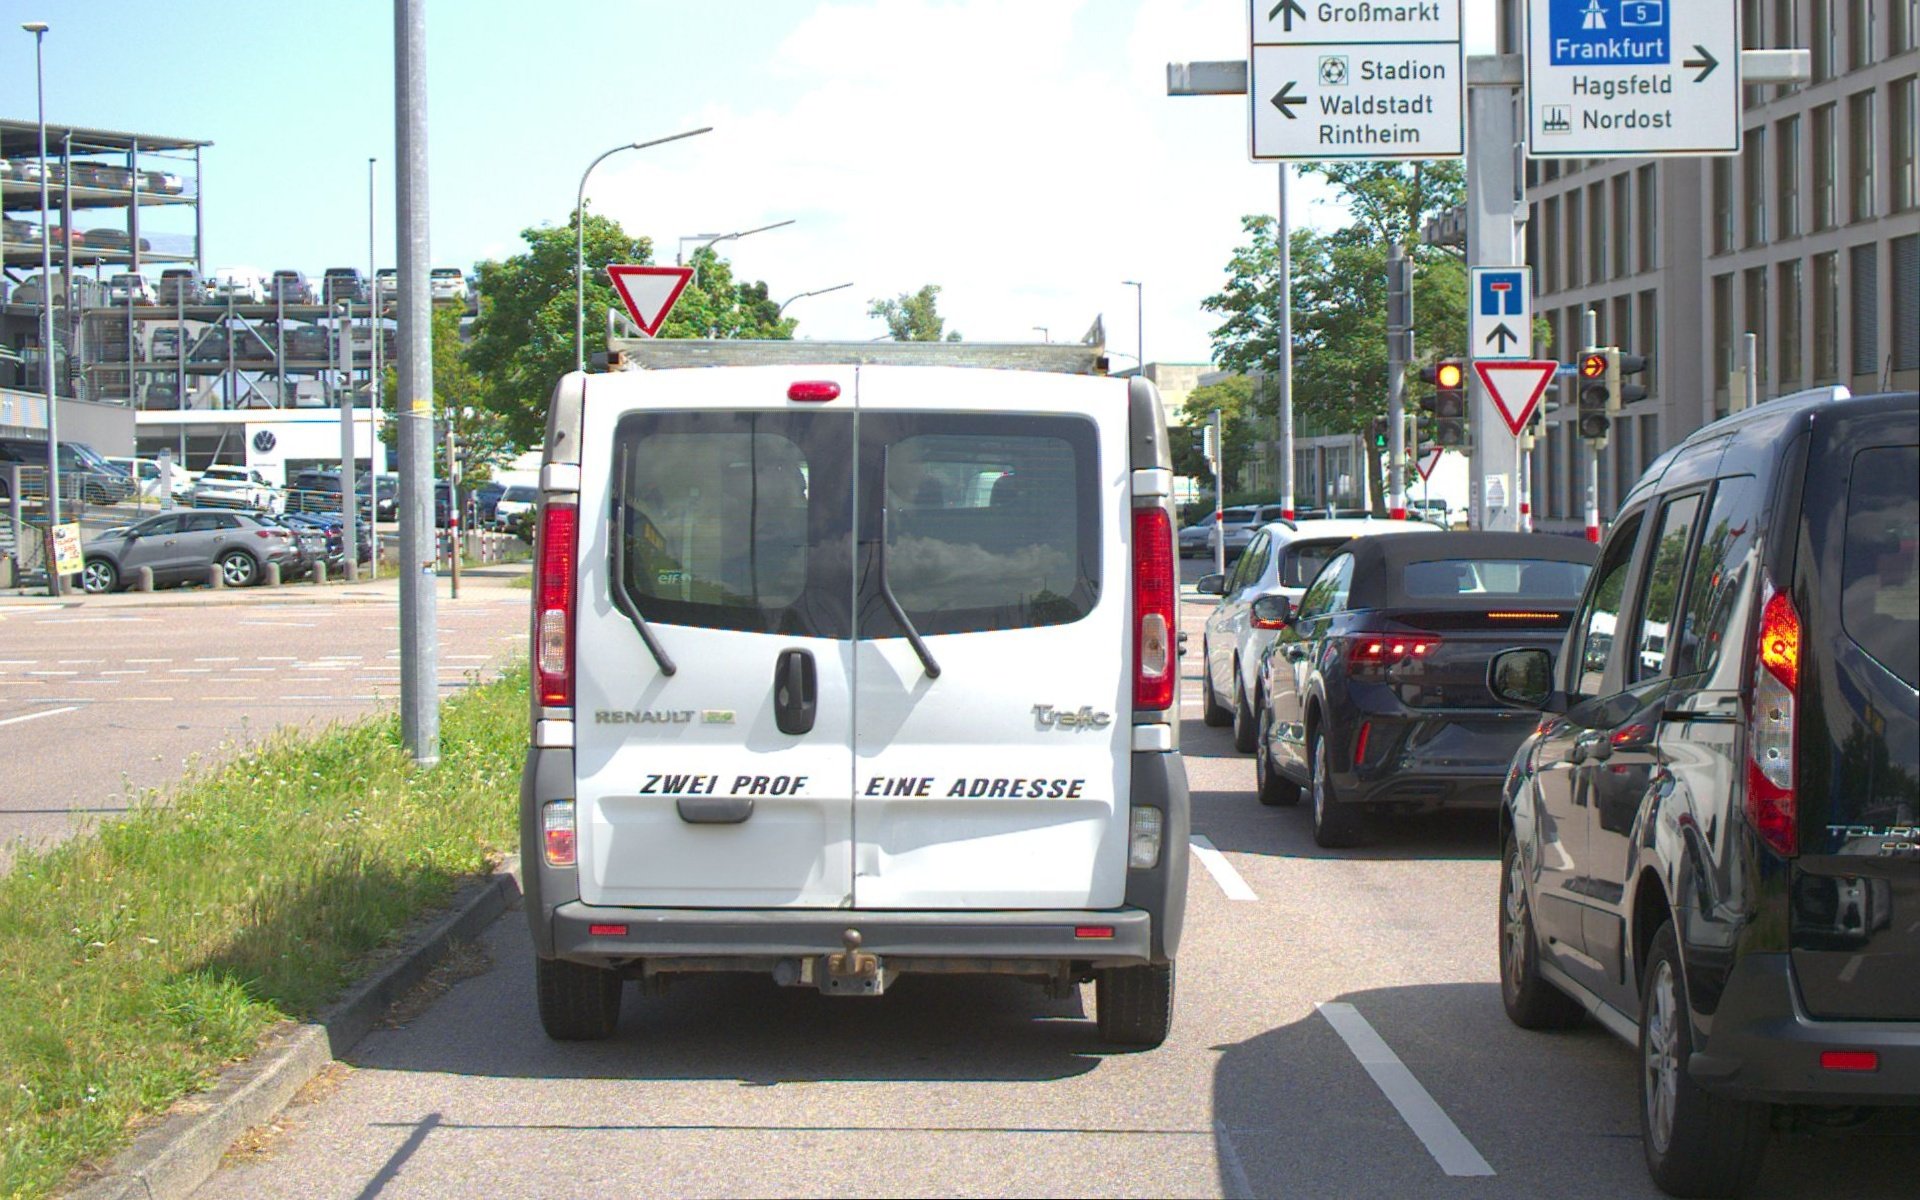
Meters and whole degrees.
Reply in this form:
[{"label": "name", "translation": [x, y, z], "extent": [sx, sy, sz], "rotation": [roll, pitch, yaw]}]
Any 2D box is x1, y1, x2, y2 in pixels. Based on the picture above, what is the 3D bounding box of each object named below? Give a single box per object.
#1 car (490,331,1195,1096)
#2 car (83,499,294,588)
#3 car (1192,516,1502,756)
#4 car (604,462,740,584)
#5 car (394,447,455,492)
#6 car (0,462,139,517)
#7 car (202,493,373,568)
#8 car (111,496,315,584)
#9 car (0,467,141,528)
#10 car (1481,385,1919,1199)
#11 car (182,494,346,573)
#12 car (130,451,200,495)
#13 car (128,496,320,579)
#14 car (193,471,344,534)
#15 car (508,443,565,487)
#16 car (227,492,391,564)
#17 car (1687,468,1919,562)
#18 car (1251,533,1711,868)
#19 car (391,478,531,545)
[{"label": "car", "translation": [-0.262, 0.261, 11.140], "extent": [1.856, 2.011, 4.000], "rotation": [1, 1, 2]}, {"label": "car", "translation": [-15.540, -1.156, 69.388], "extent": [3.861, 1.634, 1.858], "rotation": [-2, 2, -4]}, {"label": "car", "translation": [2.652, 0.200, 24.343], "extent": [1.740, 1.538, 4.000], "rotation": [1, 1, 0]}, {"label": "car", "translation": [-5.572, -1.545, 67.165], "extent": [1.971, 2.248, 4.981], "rotation": [-1, 2, 3]}, {"label": "car", "translation": [-18.868, -4.606, 121.338], "extent": [1.846, 1.524, 4.001], "rotation": [0, 2, -5]}, {"label": "car", "translation": [-28.082, -3.473, 108.280], "extent": [4.164, 1.707, 1.689], "rotation": [0, 1, -6]}, {"label": "car", "translation": [-16.608, -1.731, 85.014], "extent": [3.912, 1.707, 1.689], "rotation": [-2, 2, -4]}, {"label": "car", "translation": [-15.576, -1.265, 71.852], "extent": [3.912, 1.707, 1.689], "rotation": [-2, 2, -4]}, {"label": "car", "translation": [-25.715, -2.920, 98.519], "extent": [4.164, 1.707, 1.689], "rotation": [0, 1, -6]}, {"label": "car", "translation": [2.492, 0.434, 8.865], "extent": [1.820, 1.802, 4.000], "rotation": [1, 1, 2]}, {"label": "car", "translation": [-16.162, -1.548, 79.906], "extent": [3.507, 1.707, 1.604], "rotation": [-2, 2, -4]}, {"label": "car", "translation": [-28.303, -4.527, 122.492], "extent": [1.846, 1.524, 4.001], "rotation": [0, 2, -5]}, {"label": "car", "translation": [-16.328, -1.406, 76.391], "extent": [3.912, 1.707, 1.689], "rotation": [-2, 2, -4]}, {"label": "car", "translation": [-20.099, -2.834, 100.035], "extent": [4.164, 1.707, 1.689], "rotation": [1, 2, -6]}, {"label": "car", "translation": [-14.989, -4.771, 121.826], "extent": [1.846, 1.524, 4.001], "rotation": [0, 2, -5]}, {"label": "car", "translation": [-16.669, -1.851, 88.109], "extent": [3.912, 1.707, 1.689], "rotation": [-2, 2, -4]}, {"label": "car", "translation": [15.443, -1.490, 60.129], "extent": [4.982, 1.602, 2.000], "rotation": [0, 2, -3]}, {"label": "car", "translation": [2.522, 0.418, 17.534], "extent": [1.740, 1.490, 4.000], "rotation": [1, 1, 0]}, {"label": "car", "translation": [-14.597, -2.581, 100.752], "extent": [3.986, 1.919, 1.827], "rotation": [0, 1, -7]}]
